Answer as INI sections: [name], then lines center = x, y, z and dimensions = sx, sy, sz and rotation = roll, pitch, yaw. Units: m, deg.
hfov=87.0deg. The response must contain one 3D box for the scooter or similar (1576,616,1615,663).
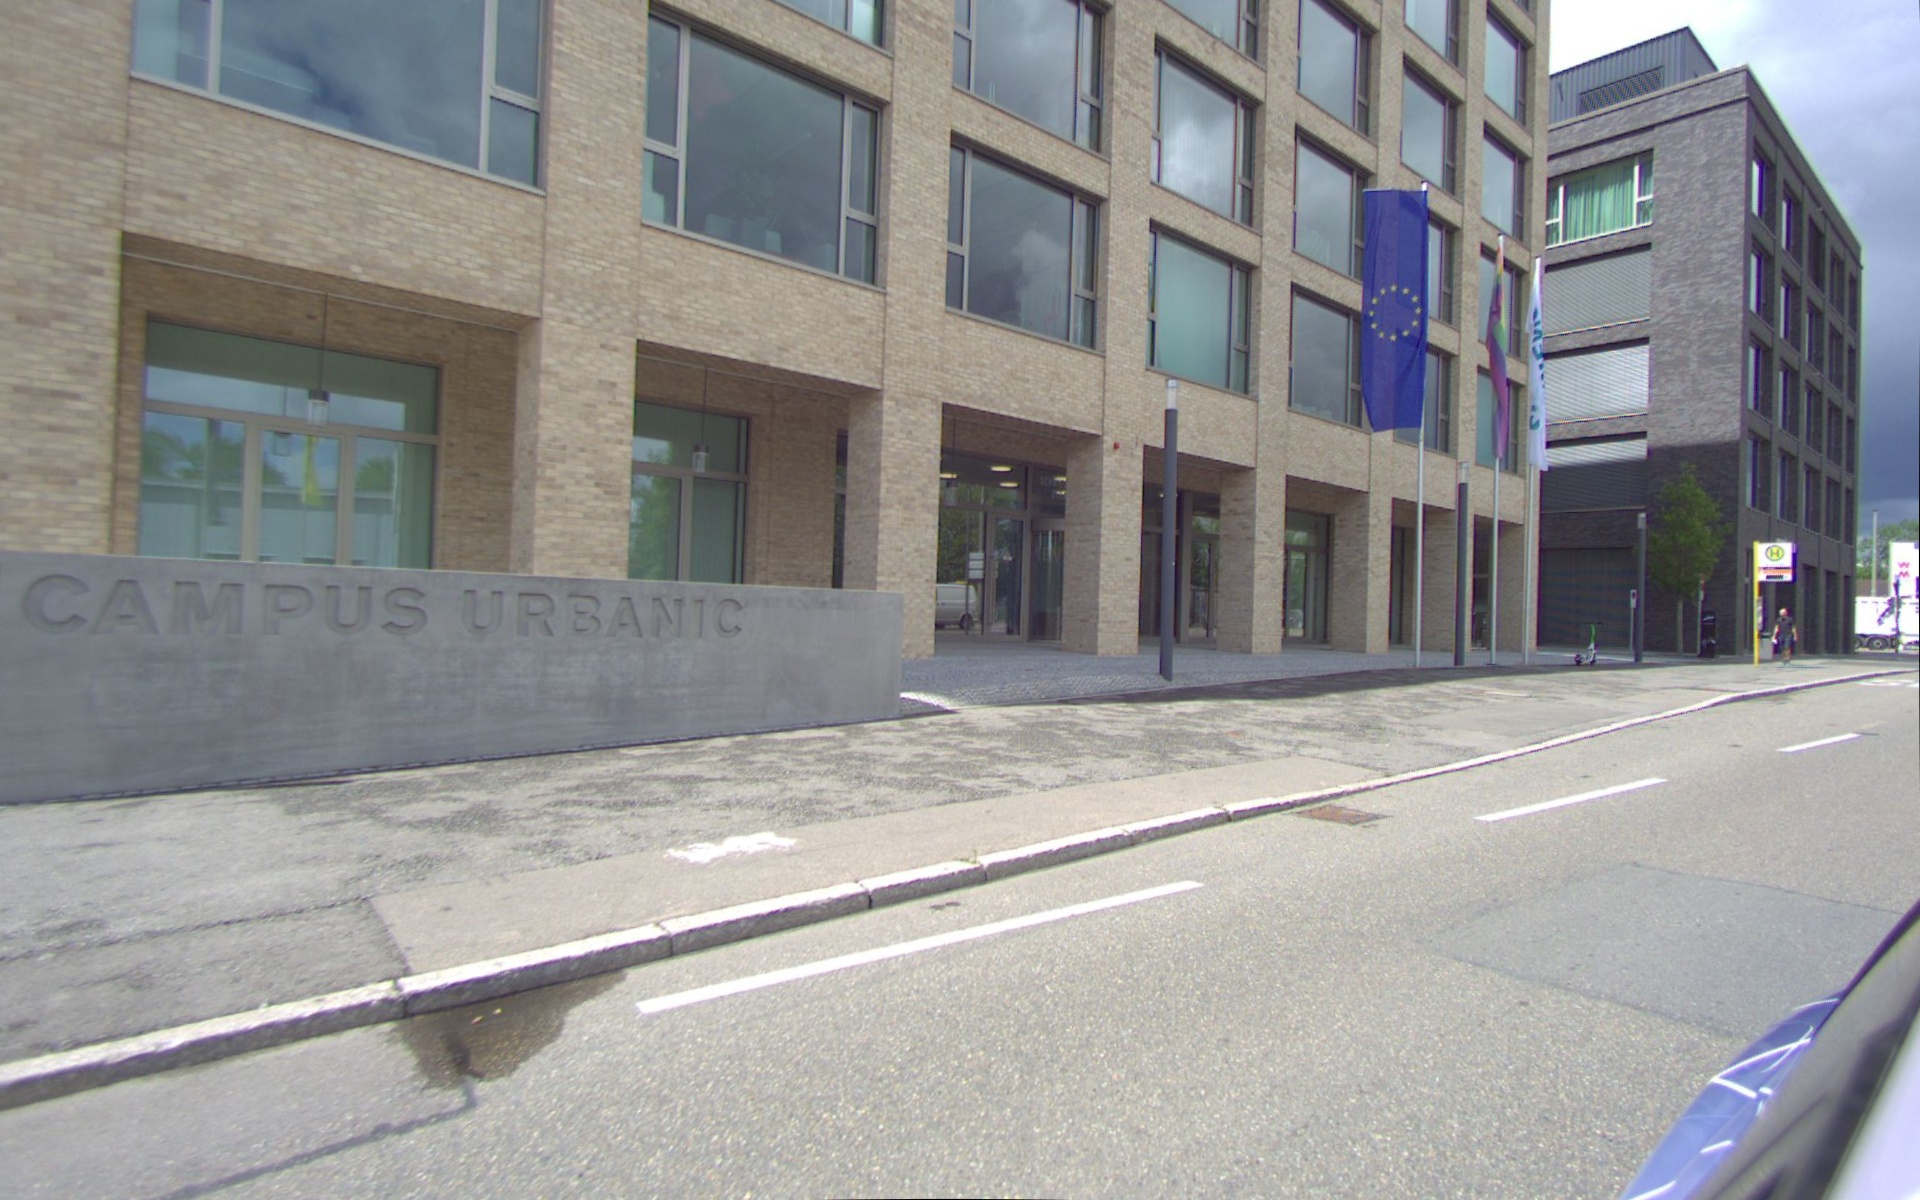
[scooter or similar]
center = 16.330, 1.010, 25.990
dimensions = 1.379, 1.167, 0.428
rotation = 1, 0, -40

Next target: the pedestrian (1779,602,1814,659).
[pedestrian]
center = 26.452, 0.966, 31.993
dimensions = 0.945, 1.750, 0.684
rotation = 2, -2, -40

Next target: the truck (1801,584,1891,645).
[truck]
center = 61.938, 1.026, 70.630
dimensions = 10.175, 3.961, 2.836
rotation = 1, 0, -38
